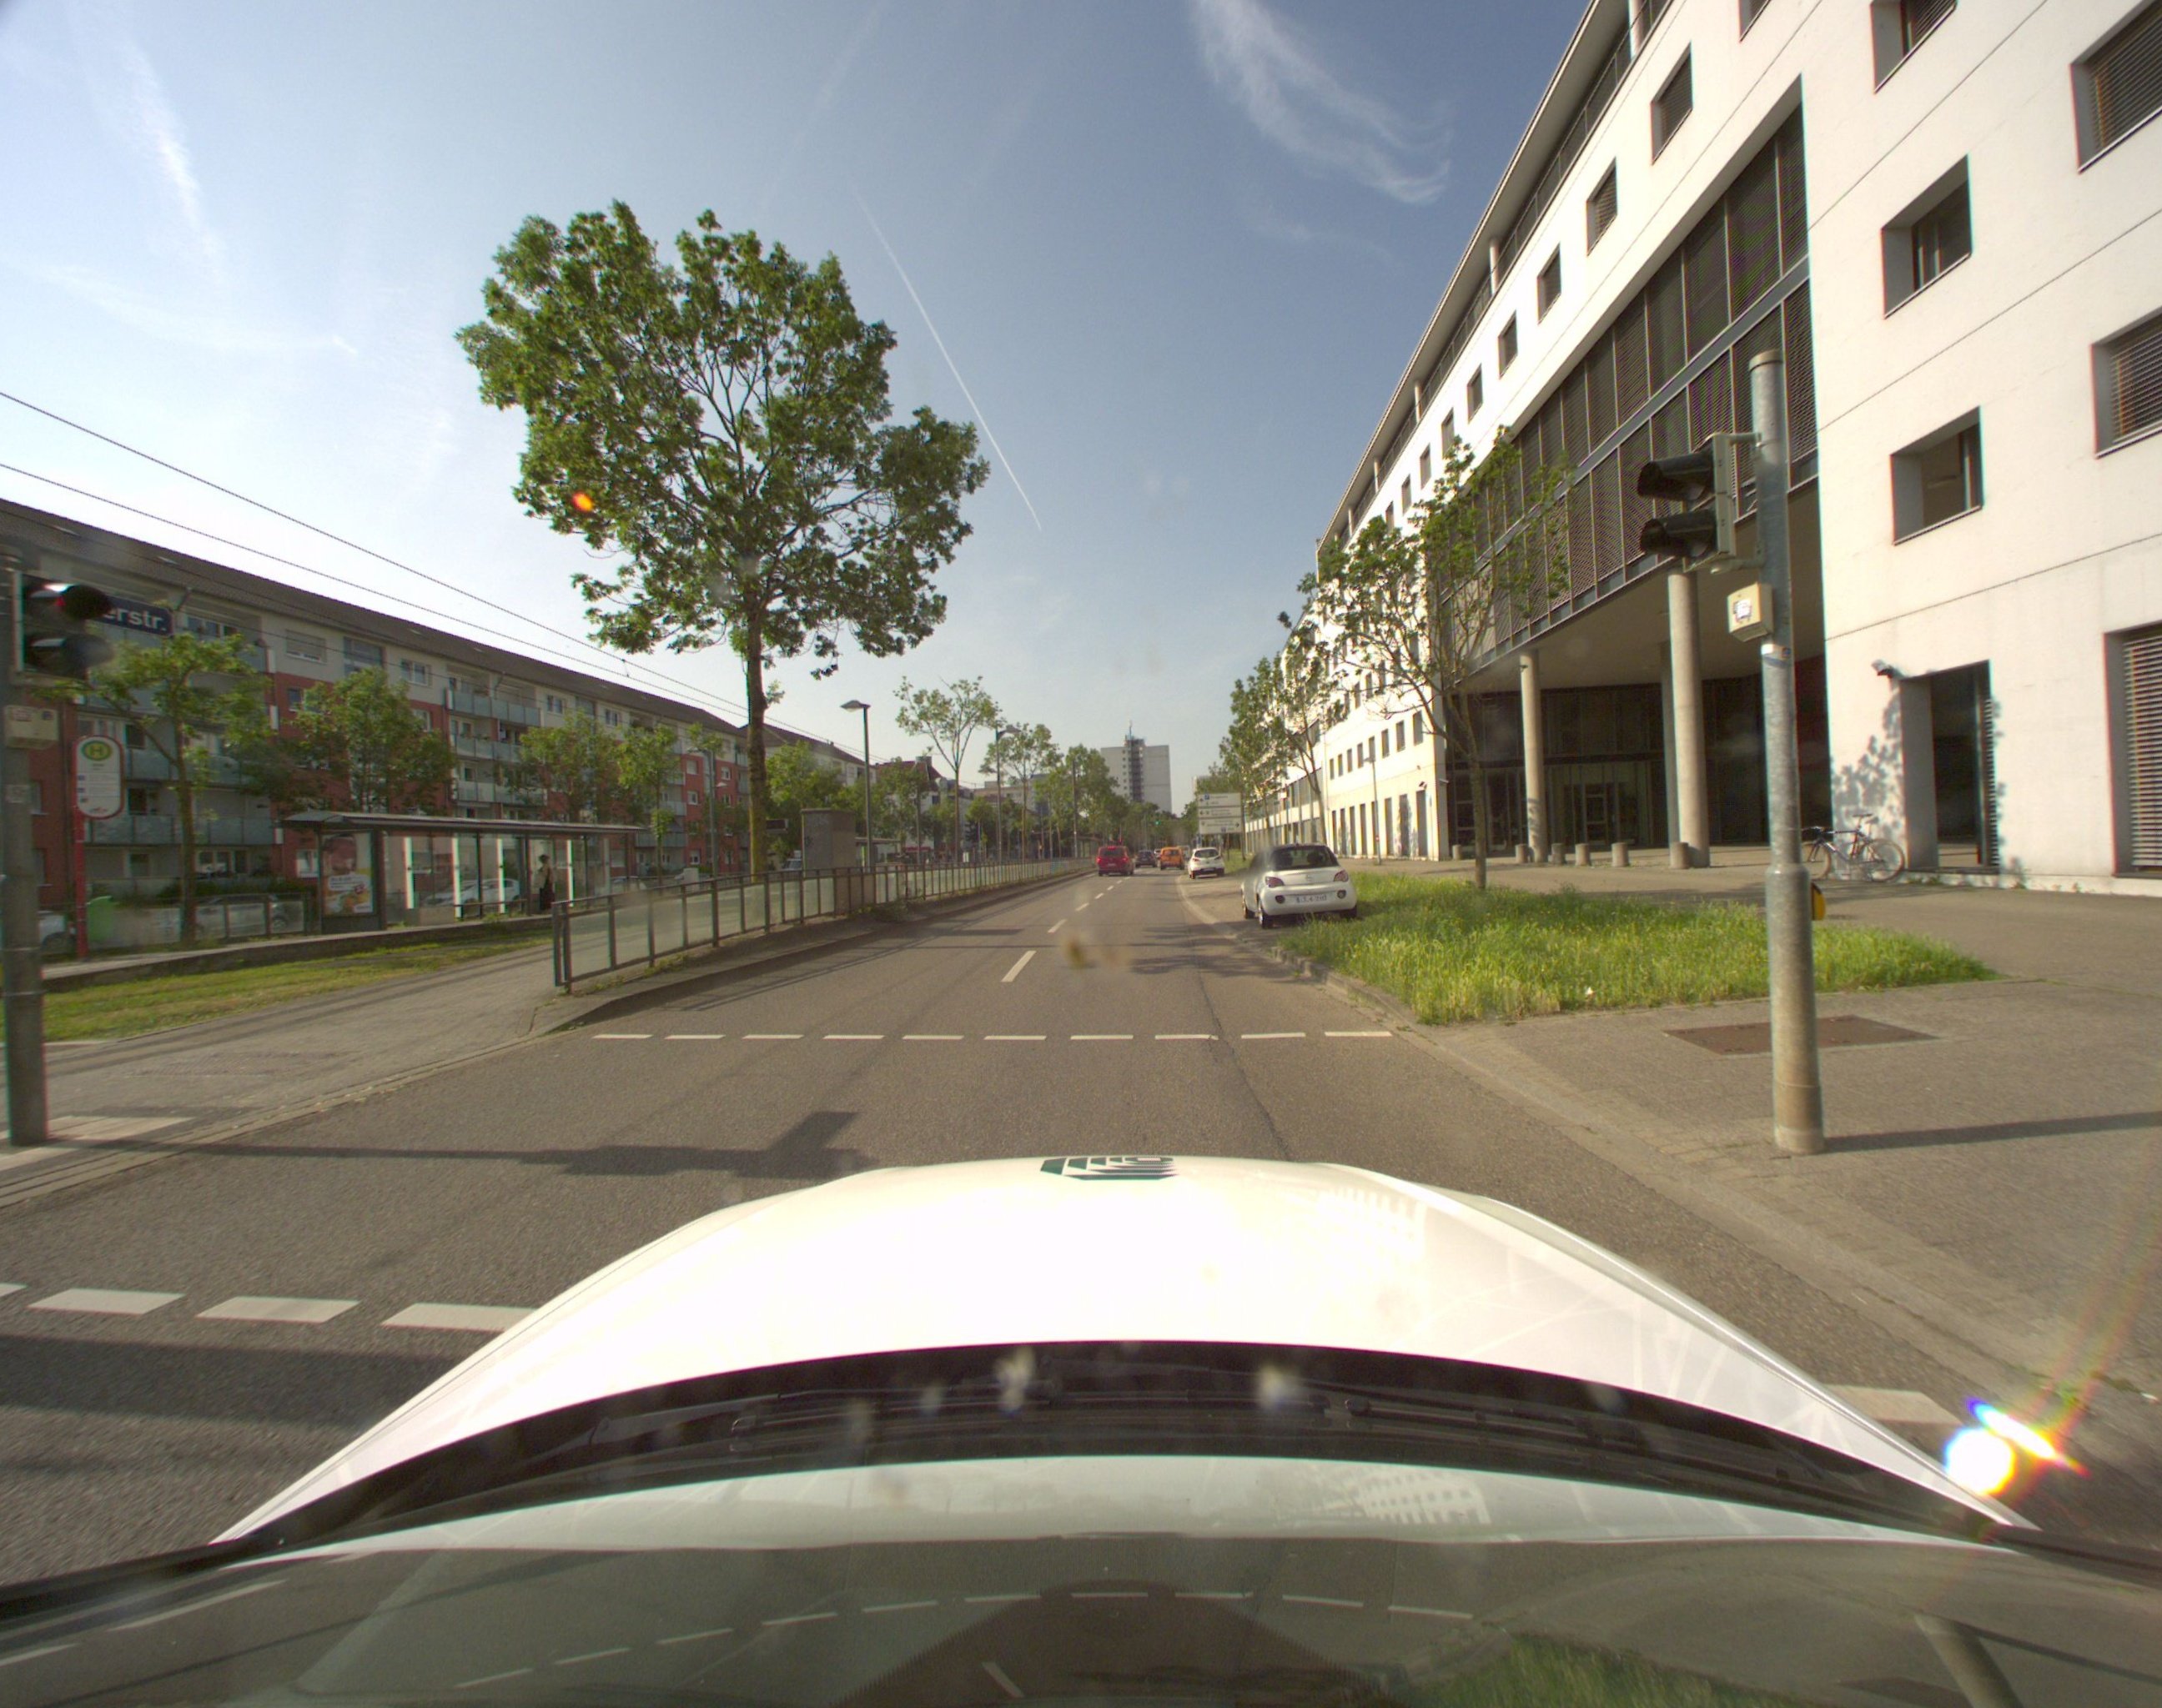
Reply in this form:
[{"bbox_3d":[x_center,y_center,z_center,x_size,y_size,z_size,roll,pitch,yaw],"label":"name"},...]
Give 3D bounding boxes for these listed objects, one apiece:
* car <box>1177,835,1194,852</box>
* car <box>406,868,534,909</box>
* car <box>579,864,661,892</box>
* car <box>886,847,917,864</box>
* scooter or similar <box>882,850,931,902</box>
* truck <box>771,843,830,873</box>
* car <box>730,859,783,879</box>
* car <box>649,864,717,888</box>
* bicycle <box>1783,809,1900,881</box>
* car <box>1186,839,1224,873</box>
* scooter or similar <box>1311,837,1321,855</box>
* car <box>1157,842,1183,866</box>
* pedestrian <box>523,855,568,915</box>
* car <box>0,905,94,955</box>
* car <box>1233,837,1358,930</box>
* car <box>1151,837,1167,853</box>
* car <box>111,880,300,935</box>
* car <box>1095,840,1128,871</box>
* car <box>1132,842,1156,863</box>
[{"bbox_3d":[13.535,-1.383,105.482,1.983,2.013,4.007,-3,1,6],"label":"car"},{"bbox_3d":[-27.160,1.502,36.442,1.971,1.556,4.544,-1,1,5],"label":"car"},{"bbox_3d":[-25.953,1.337,46.018,1.971,1.360,4.076,-1,1,5],"label":"car"},{"bbox_3d":[-23.234,0.180,105.703,2.354,2.030,5.320,-3,1,5],"label":"car"},{"bbox_3d":[-4.535,0.561,21.222,0.422,1.238,1.270,-3,1,33],"label":"scooter or similar"},{"bbox_3d":[-25.965,0.296,75.703,2.354,2.562,7.252,-1,1,5],"label":"truck"},{"bbox_3d":[-24.052,1.087,60.430,1.971,1.360,4.076,-1,1,5],"label":"car"},{"bbox_3d":[-24.945,1.352,51.197,1.971,1.360,4.076,-1,1,5],"label":"car"},{"bbox_3d":[12.531,-0.156,13.484,0.491,1.086,1.551,-4,1,3],"label":"bicycle"},{"bbox_3d":[6.350,0.084,41.945,1.680,1.526,3.858,-4,1,6],"label":"car"},{"bbox_3d":[16.497,-0.590,57.171,0.459,1.213,1.259,-4,1,12],"label":"scooter or similar"},{"bbox_3d":[6.906,-0.002,62.973,1.866,1.696,3.981,-2,1,7],"label":"car"},{"bbox_3d":[-15.524,0.885,23.620,0.669,1.653,0.795,-3,0,1],"label":"pedestrian"},{"bbox_3d":[-28.545,2.036,20.613,1.824,1.147,4.171,-1,1,5],"label":"car"},{"bbox_3d":[4.073,0.471,16.012,1.712,1.519,3.787,-3,1,5],"label":"car"},{"bbox_3d":[10.040,-1.160,104.826,1.984,2.013,4.006,-3,1,5],"label":"car"},{"bbox_3d":[-28.238,1.671,26.468,1.824,1.471,3.833,-1,1,5],"label":"car"},{"bbox_3d":[2.003,0.067,52.065,1.865,1.853,4.006,-2,1,5],"label":"car"},{"bbox_3d":[5.698,-0.170,73.745,1.983,1.706,4.007,-3,1,6],"label":"car"}]
